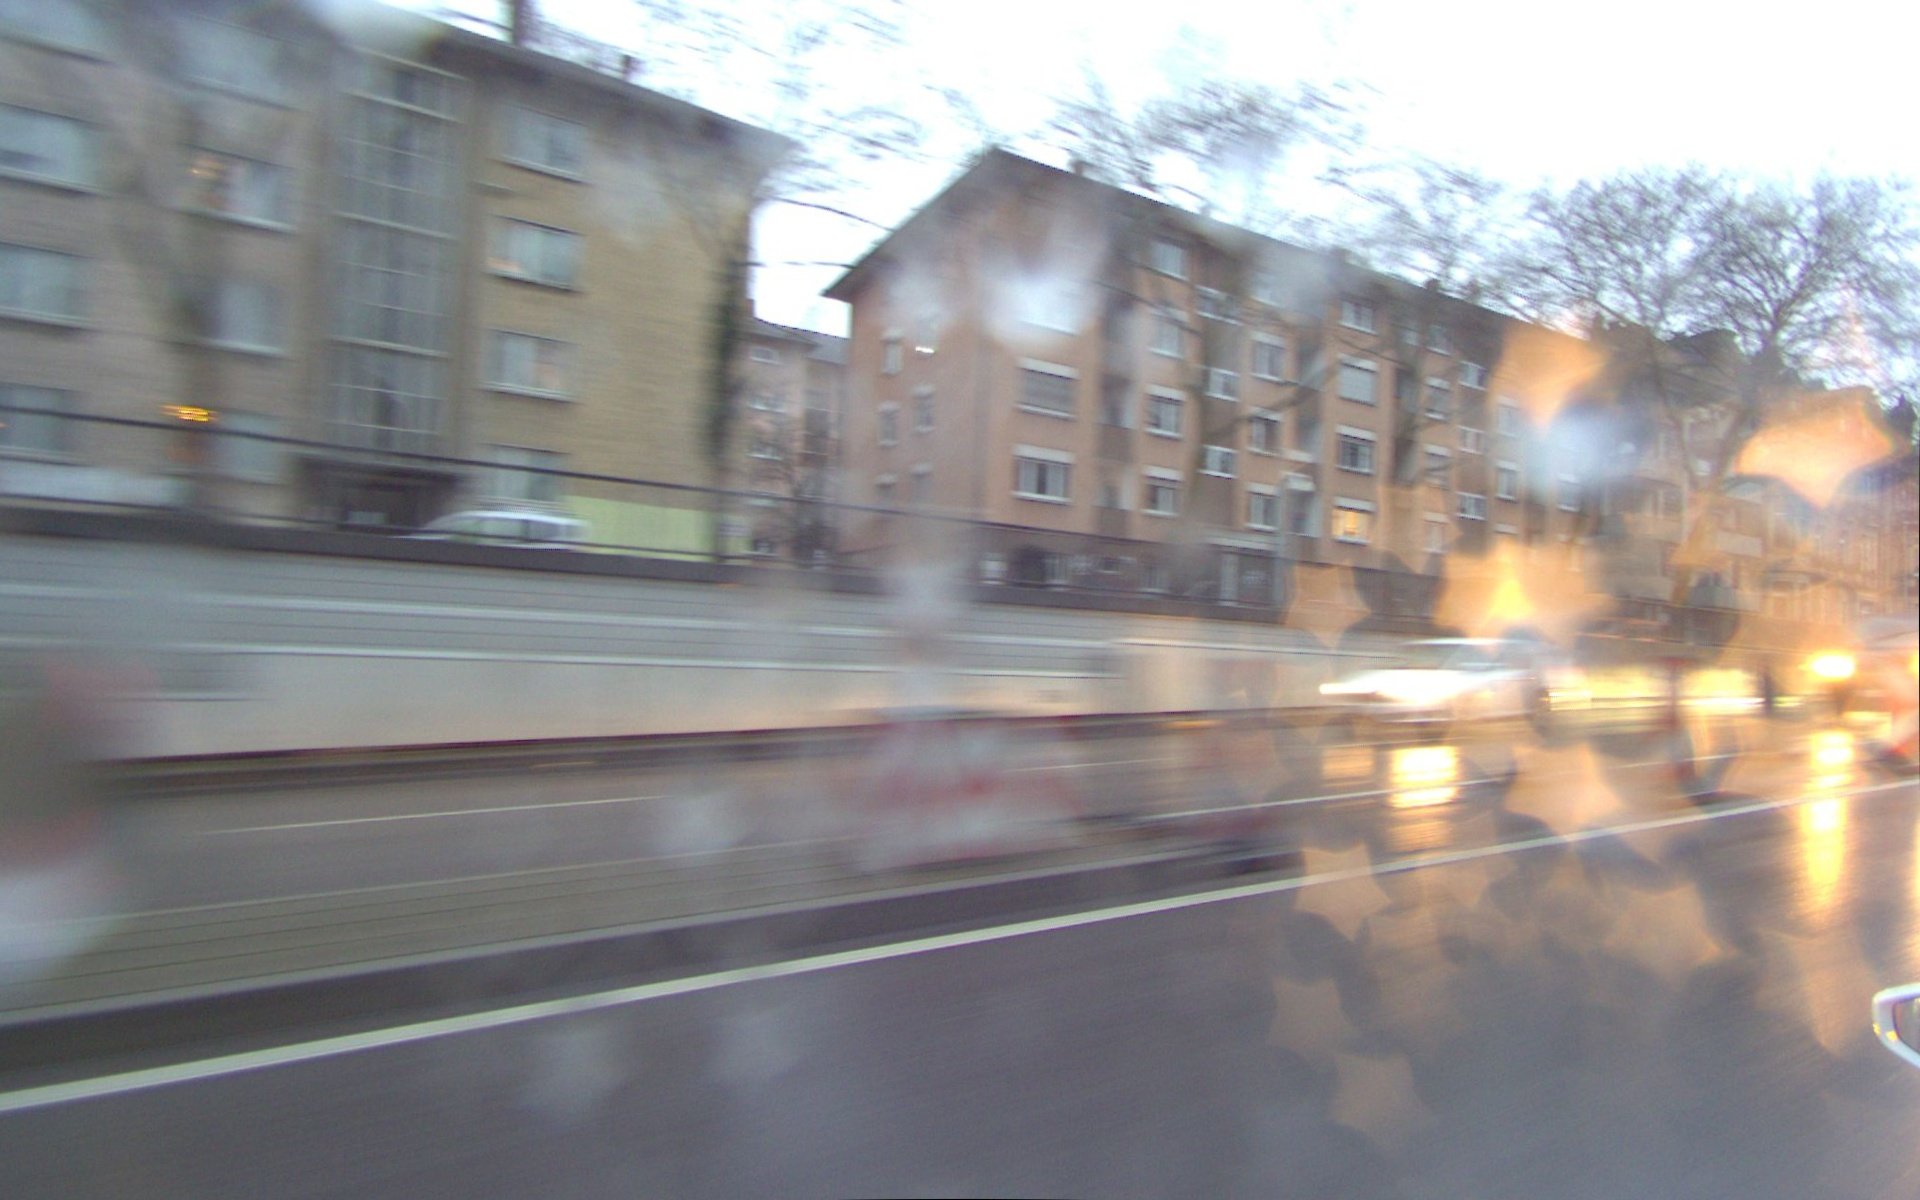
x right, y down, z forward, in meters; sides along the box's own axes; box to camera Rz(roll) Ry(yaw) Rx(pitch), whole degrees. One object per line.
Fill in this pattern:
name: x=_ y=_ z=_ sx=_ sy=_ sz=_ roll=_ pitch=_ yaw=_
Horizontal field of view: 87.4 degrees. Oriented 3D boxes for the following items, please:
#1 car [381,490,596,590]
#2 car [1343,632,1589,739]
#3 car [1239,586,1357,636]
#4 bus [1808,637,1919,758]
car: x=-9.081 y=-1.077 z=19.428 sx=3.583 sy=1.491 sz=1.558 roll=3 pitch=-5 yaw=-30
car: x=8.148 y=1.309 z=16.133 sx=3.827 sy=1.510 sz=1.667 roll=1 pitch=-3 yaw=-30
car: x=10.209 y=0.369 z=30.297 sx=3.546 sy=1.289 sz=1.434 roll=3 pitch=-5 yaw=-30
bus: x=17.755 y=1.714 z=18.399 sx=5.113 sy=1.991 sz=1.667 roll=2 pitch=-5 yaw=-30
